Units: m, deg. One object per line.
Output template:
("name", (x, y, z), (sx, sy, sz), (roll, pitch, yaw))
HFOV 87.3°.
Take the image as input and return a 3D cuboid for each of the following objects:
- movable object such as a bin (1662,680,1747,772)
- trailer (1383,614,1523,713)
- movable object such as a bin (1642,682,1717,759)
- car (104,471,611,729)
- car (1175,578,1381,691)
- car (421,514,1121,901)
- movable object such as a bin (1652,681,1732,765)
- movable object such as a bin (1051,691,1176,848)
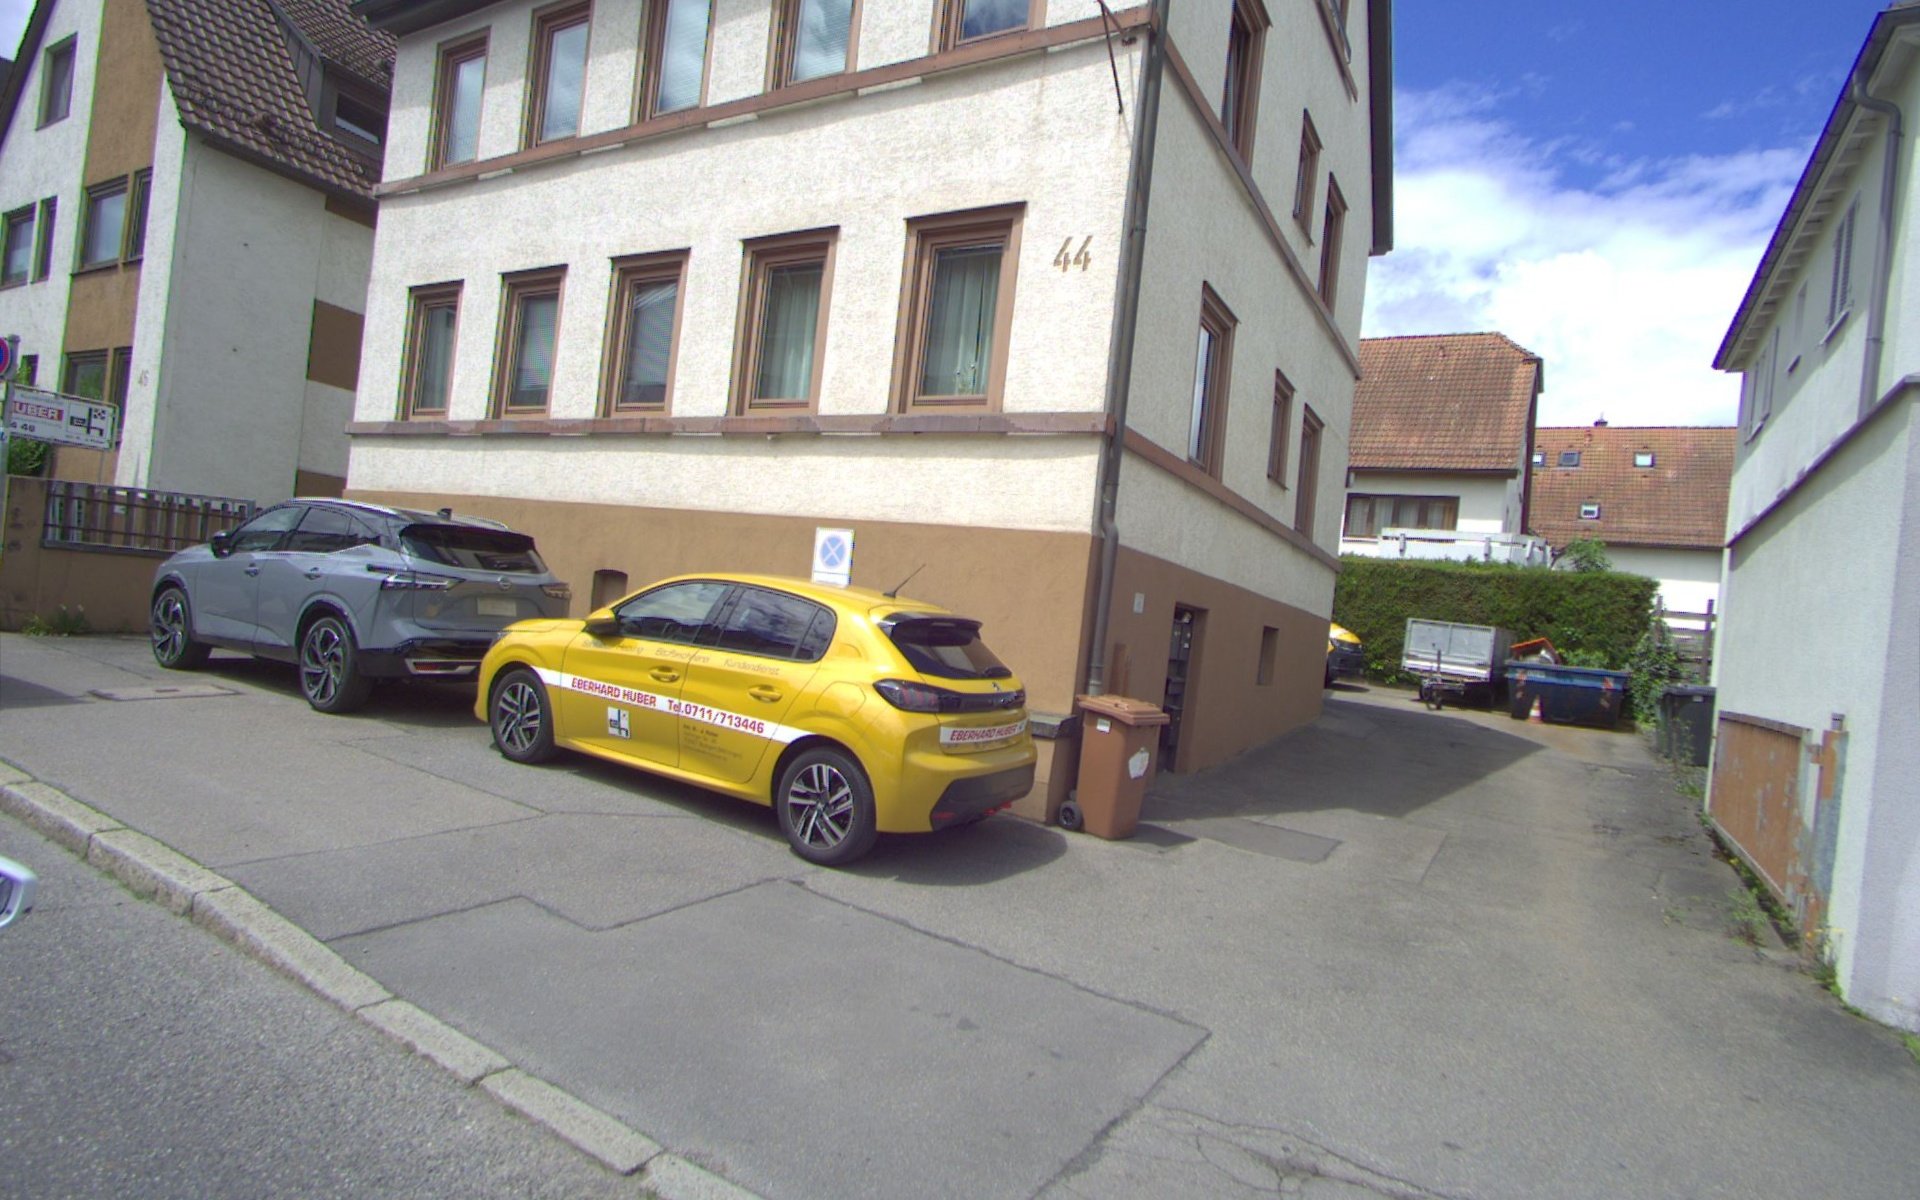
("movable object such as a bin", (10.015, 1.680, 13.556), (0.751, 1.097, 0.608), (6, 2, 30))
("trailer", (9.554, 1.193, 19.370), (1.618, 1.558, 3.532), (8, 2, 37))
("movable object such as a bin", (10.501, 1.739, 14.706), (0.751, 0.983, 0.608), (6, 2, 30))
("car", (-5.442, -0.092, 8.926), (4.509, 1.632, 1.862), (7, 1, 31))
("car", (6.746, 0.676, 21.422), (3.714, 1.927, 1.845), (6, 2, 32))
("car", (-1.339, 0.494, 6.679), (4.233, 1.465, 1.880), (9, 1, 29))
("movable object such as a bin", (10.260, 1.709, 14.128), (0.751, 1.032, 0.608), (6, 2, 30))
("movable object such as a bin", (1.049, 1.129, 6.865), (0.589, 0.936, 0.501), (7, 0, 35))
